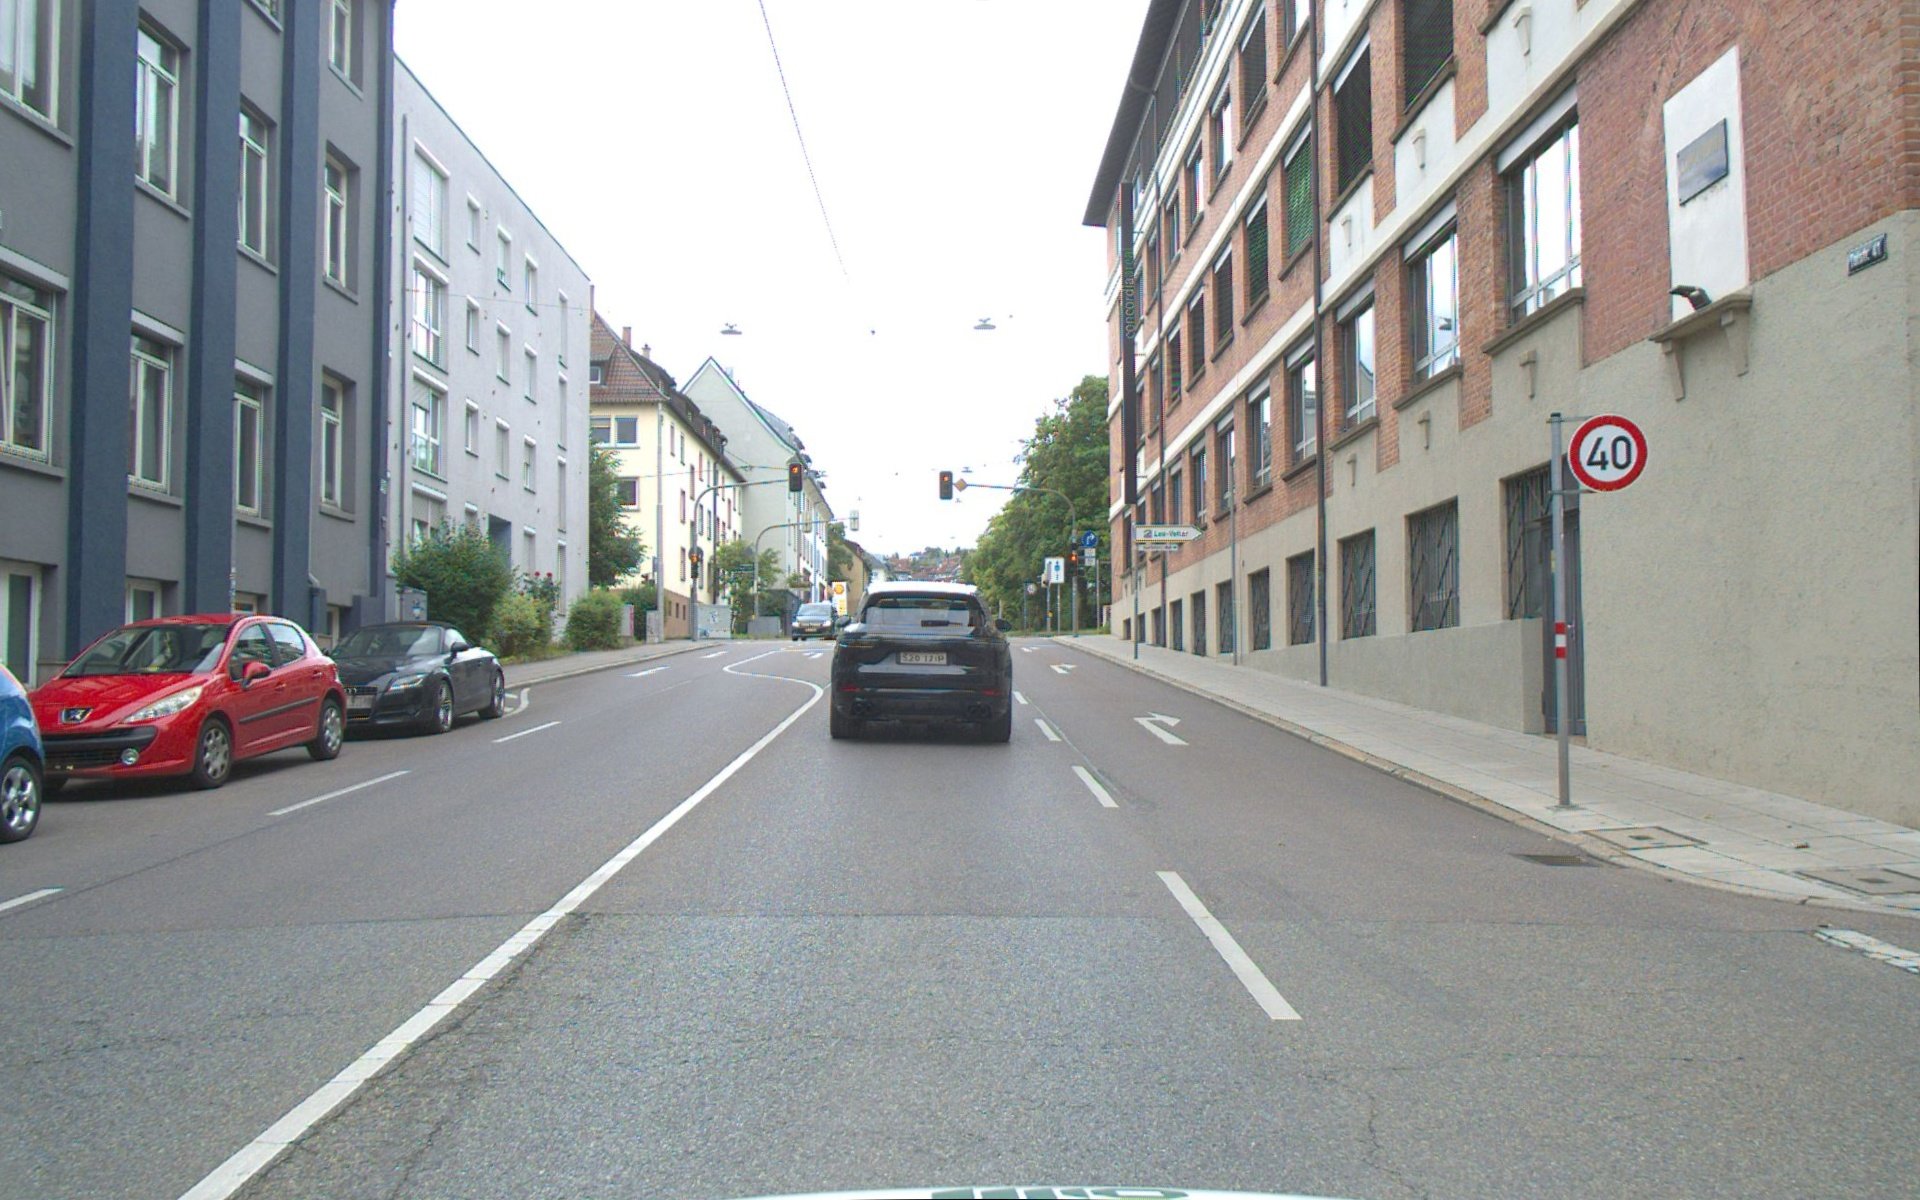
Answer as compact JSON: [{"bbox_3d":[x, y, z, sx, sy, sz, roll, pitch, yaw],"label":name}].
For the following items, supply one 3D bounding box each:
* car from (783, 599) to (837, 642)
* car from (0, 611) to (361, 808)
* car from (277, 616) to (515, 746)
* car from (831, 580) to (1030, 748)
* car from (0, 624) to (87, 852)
[{"bbox_3d":[-6.464,0.865,71.744,1.858,1.721,4.000,-3,0,1],"label":"car"},{"bbox_3d":[-7.142,0.897,15.280,1.679,1.482,3.989,-2,0,0],"label":"car"},{"bbox_3d":[-7.002,0.948,20.942,1.679,1.364,3.903,-2,0,-1],"label":"car"},{"bbox_3d":[-0.464,0.658,18.986,1.984,1.670,4.352,1,0,-5],"label":"car"},{"bbox_3d":[-7.051,0.945,9.751,1.679,1.448,3.988,-2,0,-1],"label":"car"}]
